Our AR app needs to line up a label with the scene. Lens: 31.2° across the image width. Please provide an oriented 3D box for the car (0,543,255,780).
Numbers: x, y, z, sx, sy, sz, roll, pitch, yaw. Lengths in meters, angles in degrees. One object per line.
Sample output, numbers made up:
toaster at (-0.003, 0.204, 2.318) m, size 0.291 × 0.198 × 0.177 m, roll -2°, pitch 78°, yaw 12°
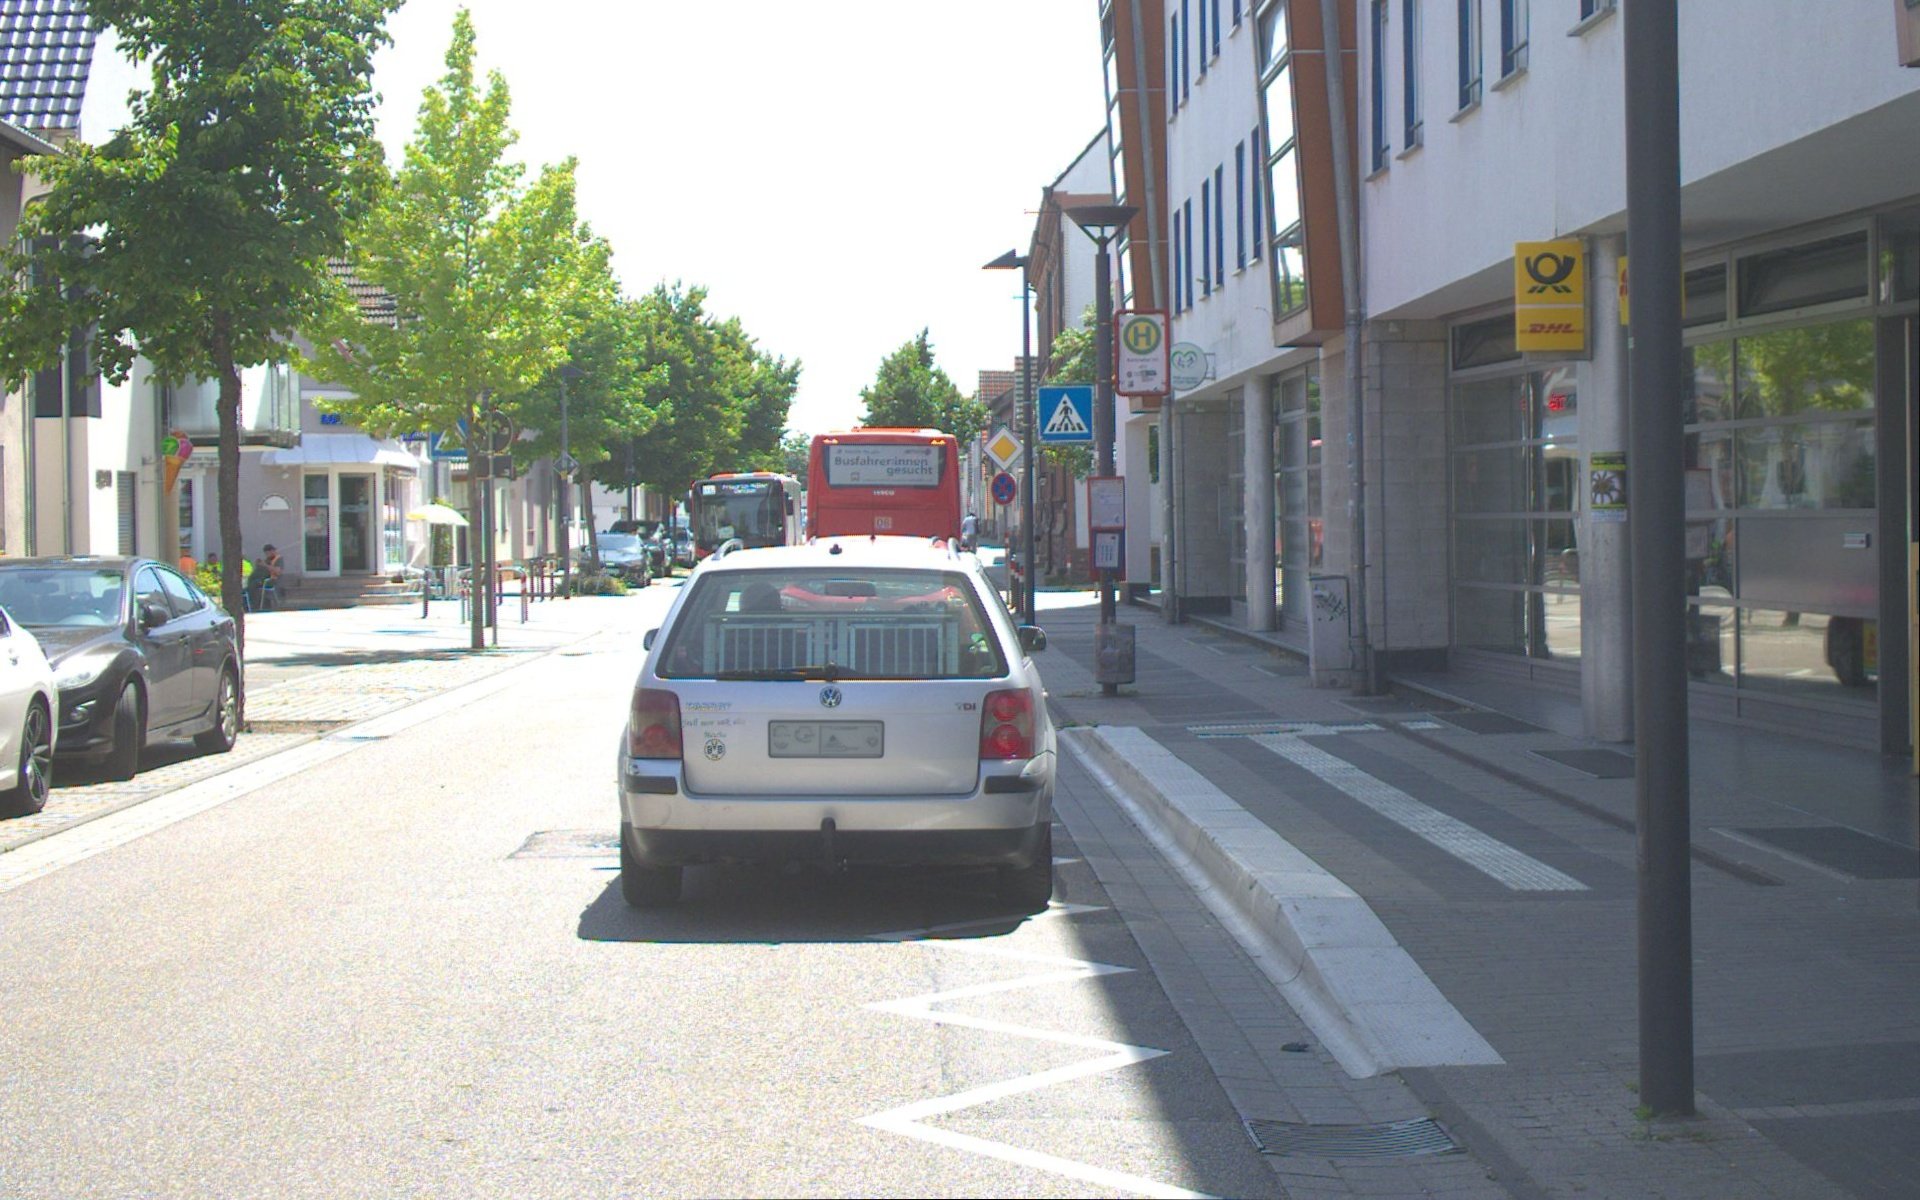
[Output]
car at (-6.088, 0.345, 23.444) m, size 1.660 × 1.432 × 4.539 m, roll -1°, pitch 1°, yaw -1°

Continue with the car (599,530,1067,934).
car at (-0.519, 0.454, 14.550) m, size 1.677 × 1.425 × 3.680 m, roll 2°, pitch 1°, yaw -2°

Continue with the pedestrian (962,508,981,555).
pedestrian at (0.389, -2.401, 120.802) m, size 0.606 × 1.661 × 0.789 m, roll -1°, pitch 1°, yaw -3°

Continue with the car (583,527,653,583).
car at (-9.159, -1.222, 92.291) m, size 1.605 × 1.433 × 4.066 m, roll -1°, pitch 1°, yaw -2°

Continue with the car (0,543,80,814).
car at (-5.973, 0.447, 17.904) m, size 1.720 × 1.432 × 4.460 m, roll -1°, pitch 1°, yaw -2°

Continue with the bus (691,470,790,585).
bus at (-6.582, -2.327, 103.583) m, size 2.668 × 3.113 × 17.811 m, roll -1°, pitch 2°, yaw -3°

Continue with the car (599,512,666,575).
car at (-9.864, -1.714, 103.782) m, size 1.764 × 1.831 × 3.789 m, roll -1°, pitch 1°, yaw -2°

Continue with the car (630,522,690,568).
car at (-10.368, -1.921, 118.958) m, size 1.811 × 1.553 × 4.001 m, roll -1°, pitch 1°, yaw -2°

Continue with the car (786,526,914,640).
car at (-1.430, -0.254, 45.709) m, size 1.593 × 1.425 × 3.680 m, roll 1°, pitch 1°, yaw -1°

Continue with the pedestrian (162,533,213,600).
pedestrian at (-15.182, -0.663, 67.551) m, size 0.634 × 1.284 × 0.789 m, roll 1°, pitch 1°, yaw -45°

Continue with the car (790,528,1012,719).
car at (-0.502, 0.144, 28.325) m, size 1.677 × 1.425 × 3.680 m, roll 1°, pitch 1°, yaw -2°

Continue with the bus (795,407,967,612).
bus at (-1.571, -1.569, 61.688) m, size 2.740 × 3.287 × 12.707 m, roll 0°, pitch 1°, yaw -3°

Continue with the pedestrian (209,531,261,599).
pedestrian at (-14.190, -0.683, 67.250) m, size 0.634 × 1.284 × 0.789 m, roll 1°, pitch 1°, yaw -45°

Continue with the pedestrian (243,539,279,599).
pedestrian at (-13.928, -0.619, 68.491) m, size 0.622 × 1.175 × 0.697 m, roll -1°, pitch 1°, yaw -5°
